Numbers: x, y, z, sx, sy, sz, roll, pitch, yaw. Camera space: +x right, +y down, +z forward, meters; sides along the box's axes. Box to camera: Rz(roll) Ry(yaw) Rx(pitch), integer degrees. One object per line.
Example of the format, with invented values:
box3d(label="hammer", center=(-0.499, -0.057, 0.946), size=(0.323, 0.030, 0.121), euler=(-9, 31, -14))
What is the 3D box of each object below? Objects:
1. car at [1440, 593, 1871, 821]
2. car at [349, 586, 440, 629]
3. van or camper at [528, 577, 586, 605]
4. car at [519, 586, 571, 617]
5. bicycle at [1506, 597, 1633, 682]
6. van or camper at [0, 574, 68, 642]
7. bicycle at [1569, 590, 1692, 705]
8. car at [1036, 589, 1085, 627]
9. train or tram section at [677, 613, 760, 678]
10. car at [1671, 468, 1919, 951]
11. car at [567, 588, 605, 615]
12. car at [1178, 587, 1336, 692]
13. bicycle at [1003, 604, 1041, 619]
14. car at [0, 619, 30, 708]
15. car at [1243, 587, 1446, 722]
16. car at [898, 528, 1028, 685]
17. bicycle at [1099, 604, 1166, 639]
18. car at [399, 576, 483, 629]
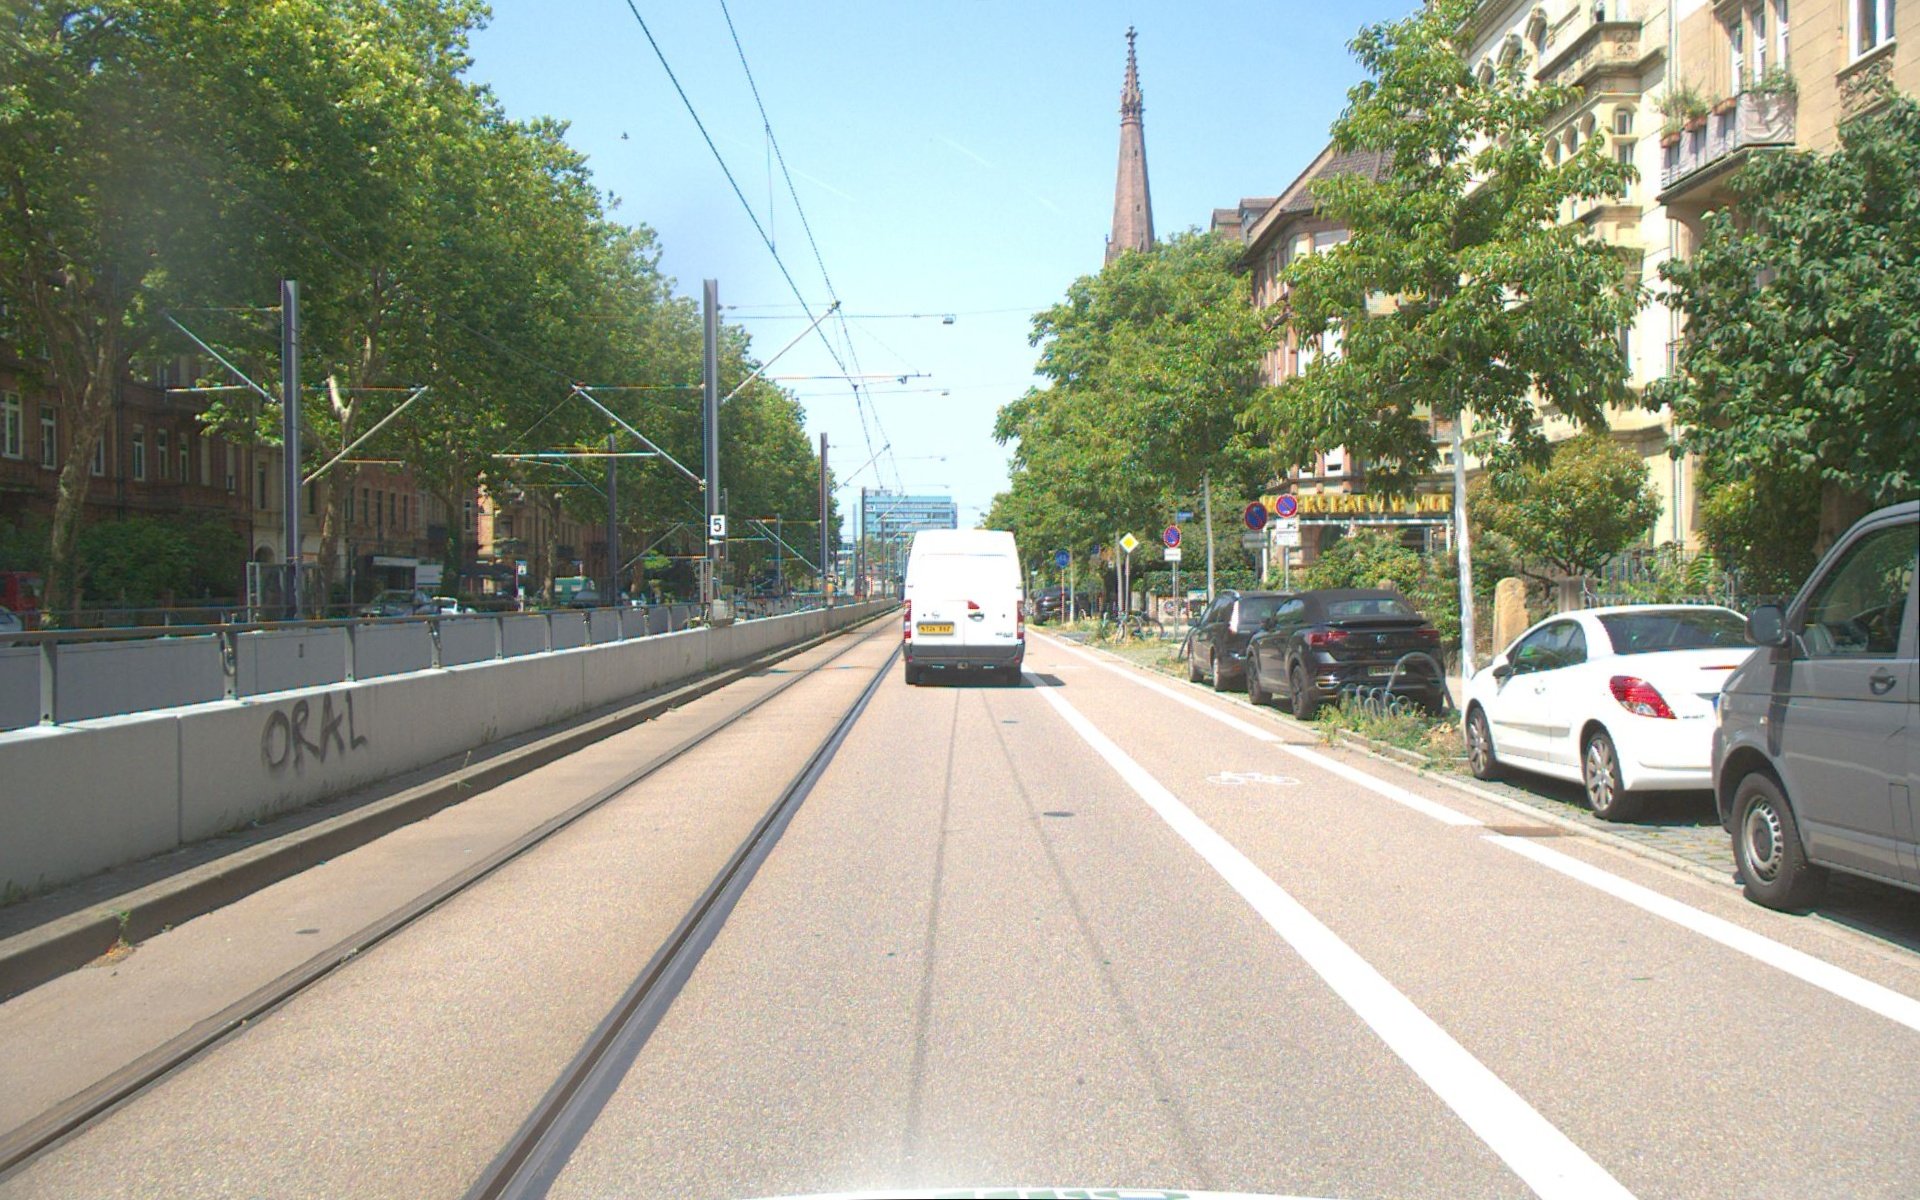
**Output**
box3d(label="car", center=(5.070, 0.682, 12.667), size=(1.578, 1.430, 4.000), euler=(-1, 0, -1))
box3d(label="car", center=(-19.647, 0.239, 57.608), size=(1.814, 1.425, 4.196), euler=(0, 0, -2))
box3d(label="van or camper", center=(-30.204, -0.651, 124.009), size=(3.907, 2.049, 1.999), euler=(0, 0, -3))
box3d(label="car", center=(-20.336, 0.063, 81.109), size=(1.560, 1.473, 4.000), euler=(0, 0, 0))
box3d(label="bicycle", center=(8.906, 0.570, 24.193), size=(1.655, 1.095, 0.343), euler=(-5, 0, -1))
box3d(label="van or camper", center=(-28.085, 0.217, 47.003), size=(4.447, 1.869, 1.933), euler=(0, 0, 5))
box3d(label="bicycle", center=(7.907, 0.528, 19.603), size=(0.580, 1.284, 2.091), euler=(0, 0, -1))
box3d(label="car", center=(4.572, 0.364, 75.970), size=(2.112, 1.699, 4.001), euler=(0, 0, 1))
box3d(label="train or tram section", center=(-10.454, 1.911, 72.404), size=(2.674, 2.552, 8.513), euler=(0, 0, -2))
box3d(label="car", center=(4.846, 0.429, 6.621), size=(1.841, 1.981, 4.836), euler=(-2, 0, -1))
box3d(label="car", center=(-20.139, 0.070, 89.077), size=(1.345, 1.448, 3.088), euler=(-1, 0, 0))
box3d(label="car", center=(4.705, 0.570, 26.802), size=(1.694, 1.562, 4.403), euler=(0, 0, -1))
box3d(label="bicycle", center=(3.645, 0.667, 96.481), size=(1.526, 0.841, 4.004), euler=(0, 0, 12))
box3d(label="car", center=(-19.394, 1.245, 31.237), size=(1.620, 1.714, 3.706), euler=(-1, 0, -2))
box3d(label="car", center=(4.822, 0.622, 21.277), size=(1.633, 1.557, 4.012), euler=(-1, 0, -1))
box3d(label="car", center=(0.039, 0.085, 29.012), size=(2.074, 2.502, 5.054), euler=(0, 0, 0))
box3d(label="bicycle", center=(4.807, 0.599, 46.107), size=(1.804, 0.970, 0.503), euler=(-1, 0, 1))
box3d(label="car", center=(-19.594, 0.082, 62.644), size=(1.953, 1.937, 4.147), euler=(0, 0, -2))
